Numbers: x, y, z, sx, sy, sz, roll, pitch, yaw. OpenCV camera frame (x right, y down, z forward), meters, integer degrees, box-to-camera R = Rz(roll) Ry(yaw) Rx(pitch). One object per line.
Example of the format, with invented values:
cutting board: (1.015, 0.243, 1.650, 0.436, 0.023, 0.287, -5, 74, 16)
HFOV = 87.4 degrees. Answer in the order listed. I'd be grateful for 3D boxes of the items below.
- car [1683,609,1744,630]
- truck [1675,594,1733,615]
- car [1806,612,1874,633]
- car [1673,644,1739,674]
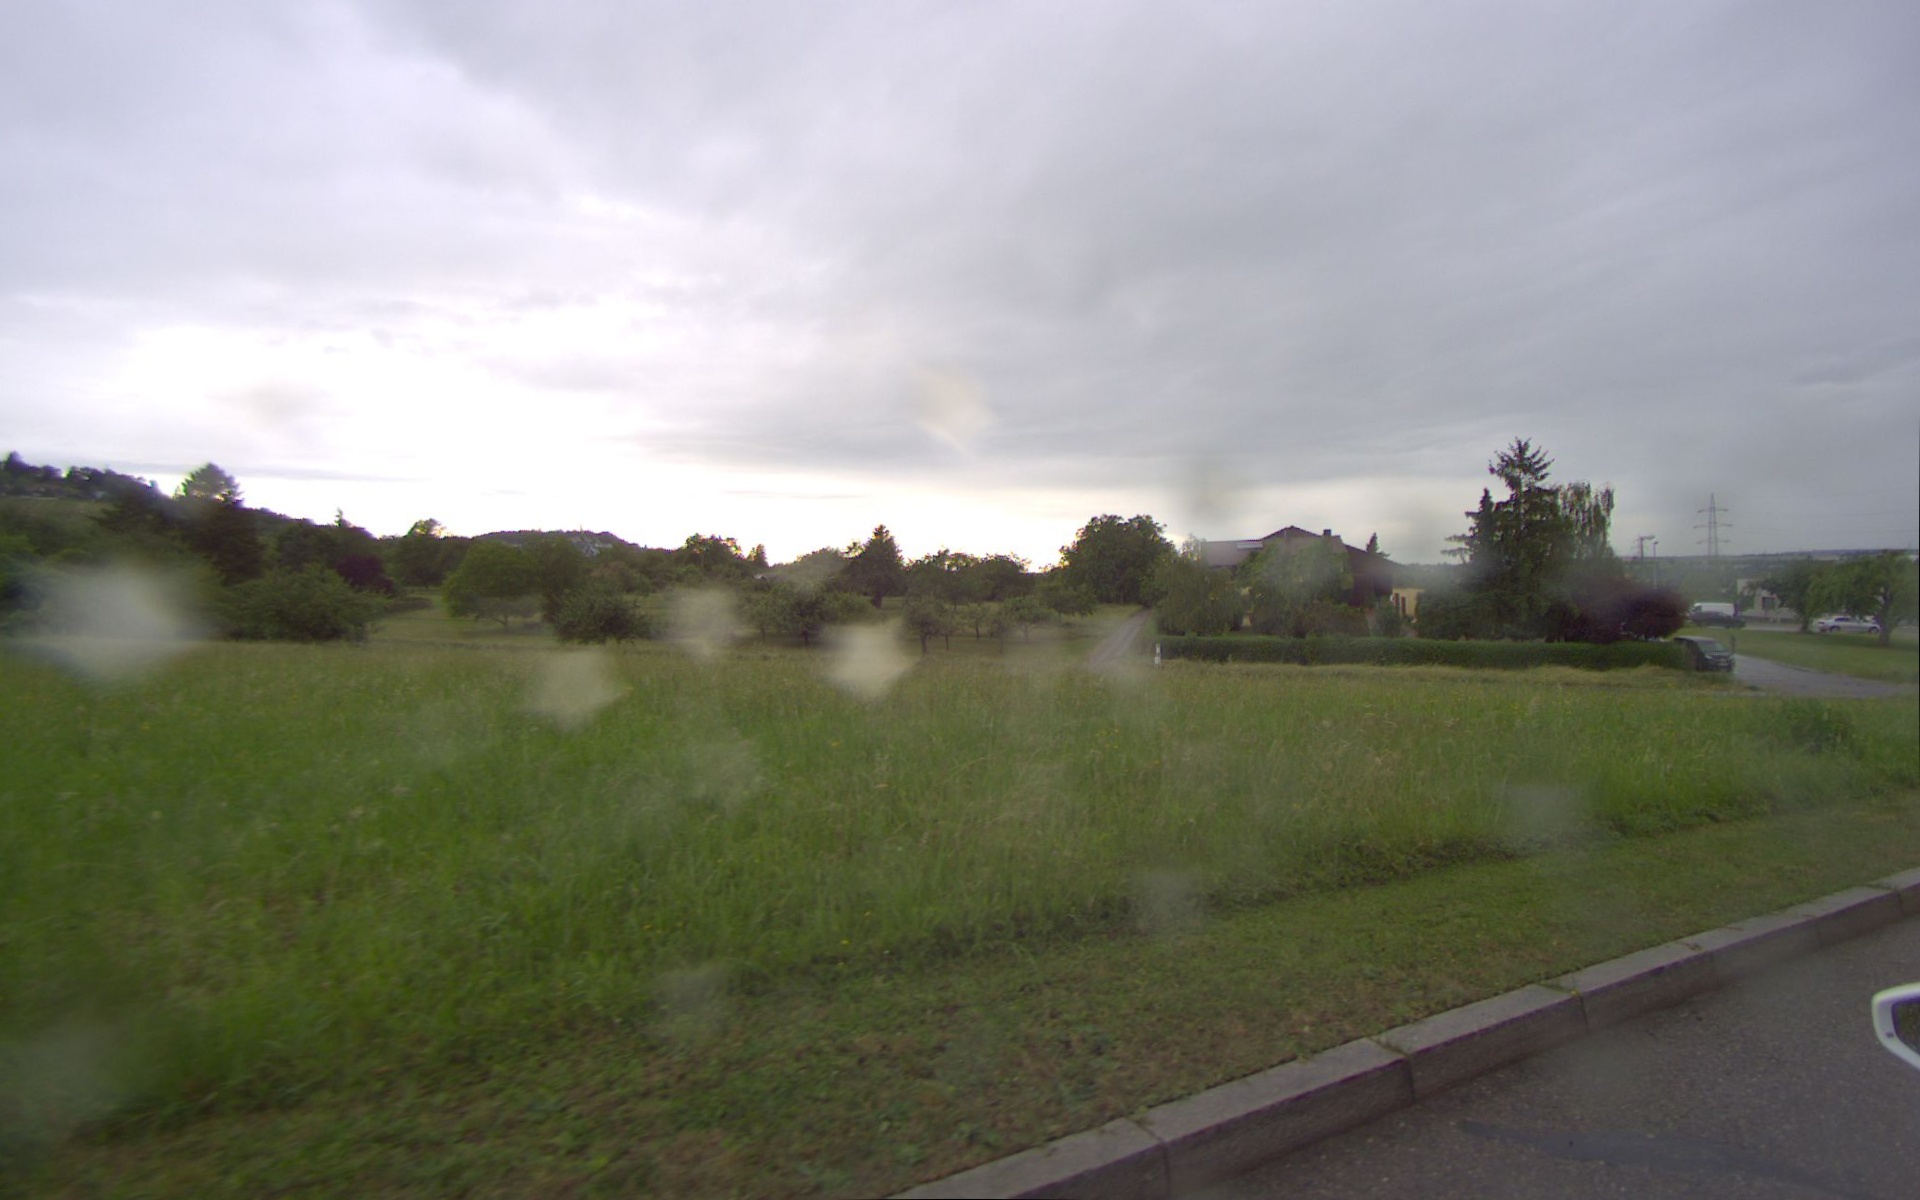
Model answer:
car: (70.170, 1.823, 93.607, 4.191, 1.725, 1.797, 1, 3, 19)
truck: (92.462, 0.526, 124.936, 5.223, 2.340, 2.435, 2, 2, 19)
car: (79.848, 2.021, 91.184, 4.191, 1.725, 1.797, 1, 3, 19)
car: (45.949, 3.620, 61.951, 1.745, 1.618, 4.002, 0, 0, 12)
